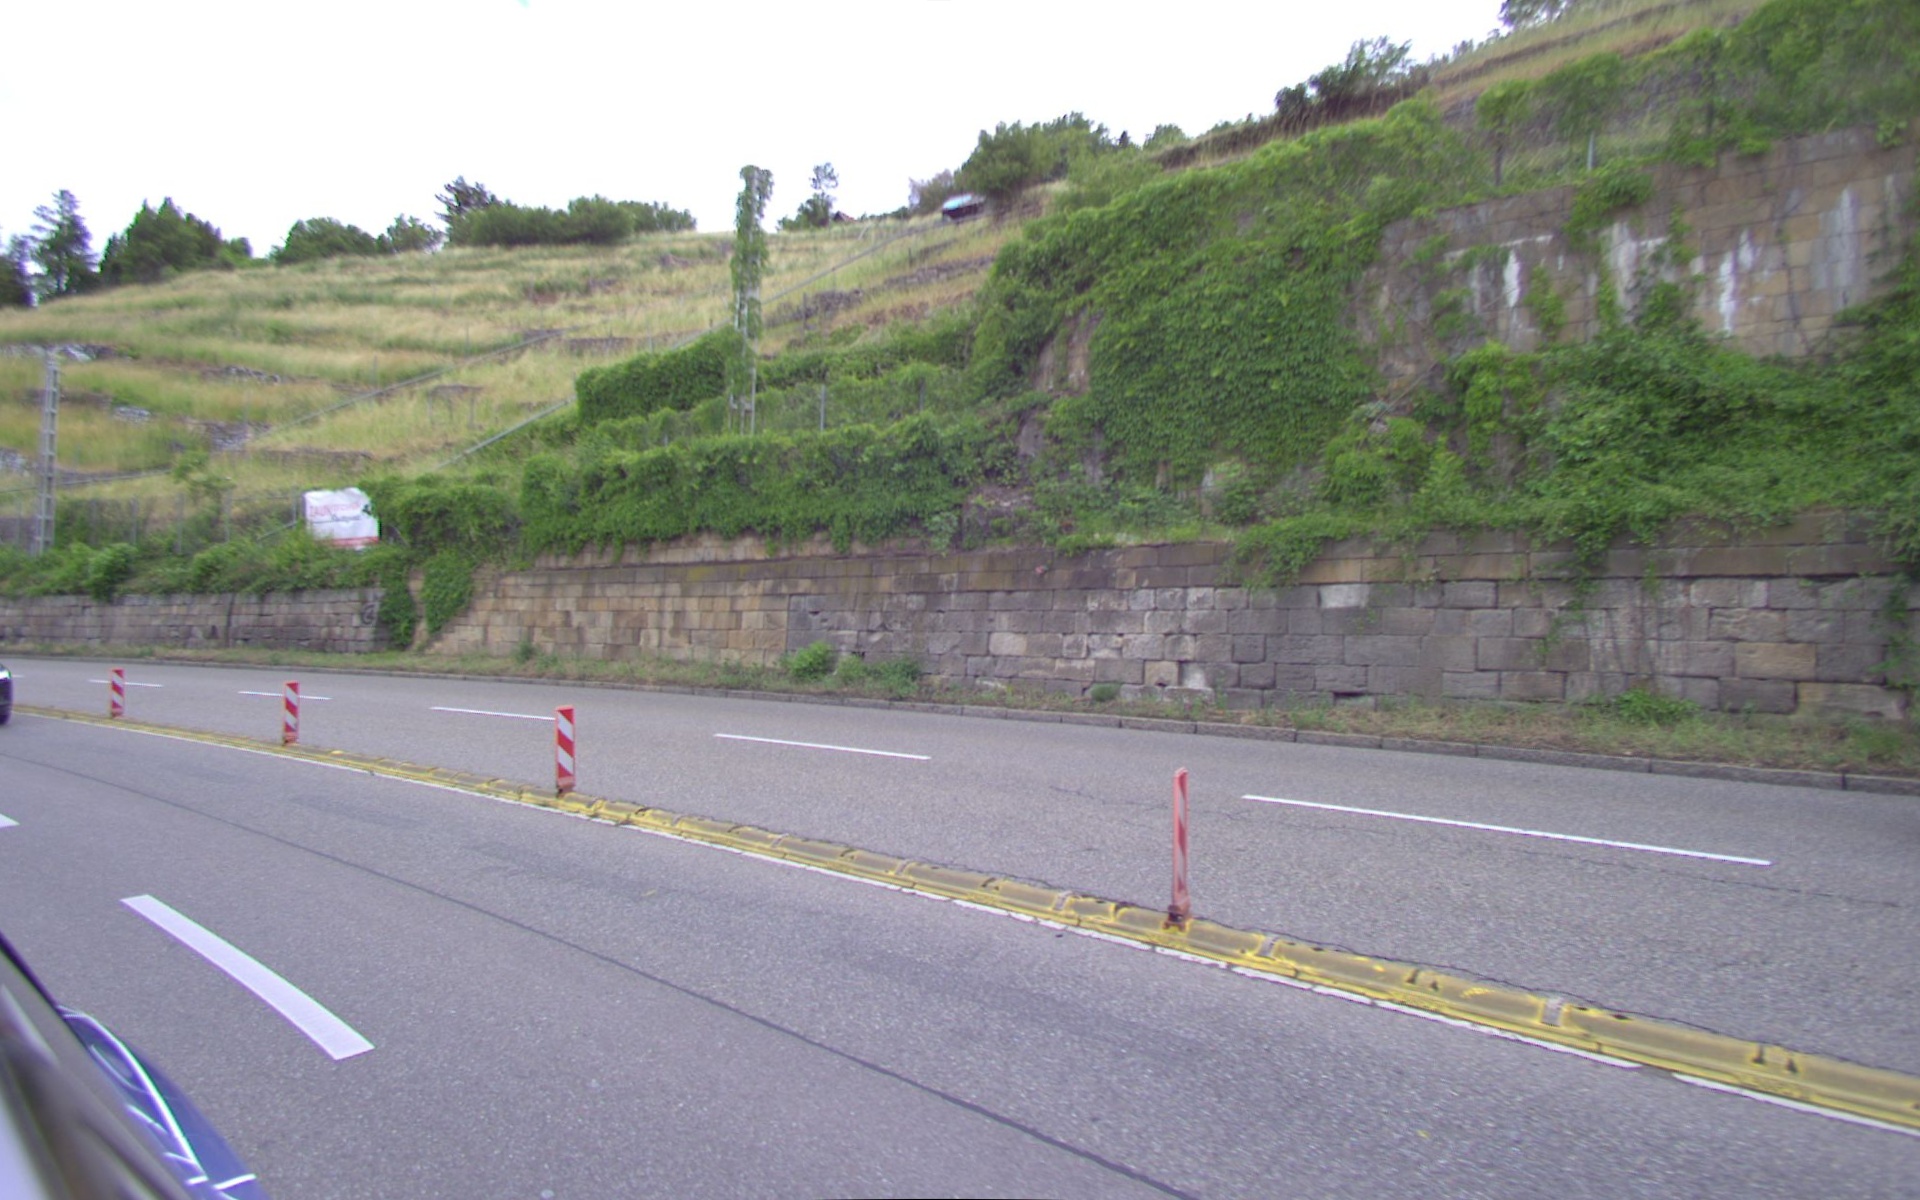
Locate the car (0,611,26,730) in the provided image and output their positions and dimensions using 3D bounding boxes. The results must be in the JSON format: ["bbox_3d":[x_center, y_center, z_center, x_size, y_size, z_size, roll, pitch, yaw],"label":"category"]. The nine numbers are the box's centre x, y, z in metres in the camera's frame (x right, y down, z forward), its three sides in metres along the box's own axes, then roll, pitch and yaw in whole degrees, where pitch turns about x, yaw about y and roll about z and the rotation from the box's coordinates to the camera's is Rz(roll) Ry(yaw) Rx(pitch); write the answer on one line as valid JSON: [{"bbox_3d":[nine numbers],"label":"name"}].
[{"bbox_3d":[-14.322,0.929,13.272,4.124,1.505,1.883,-1,0,30],"label":"car"}]
